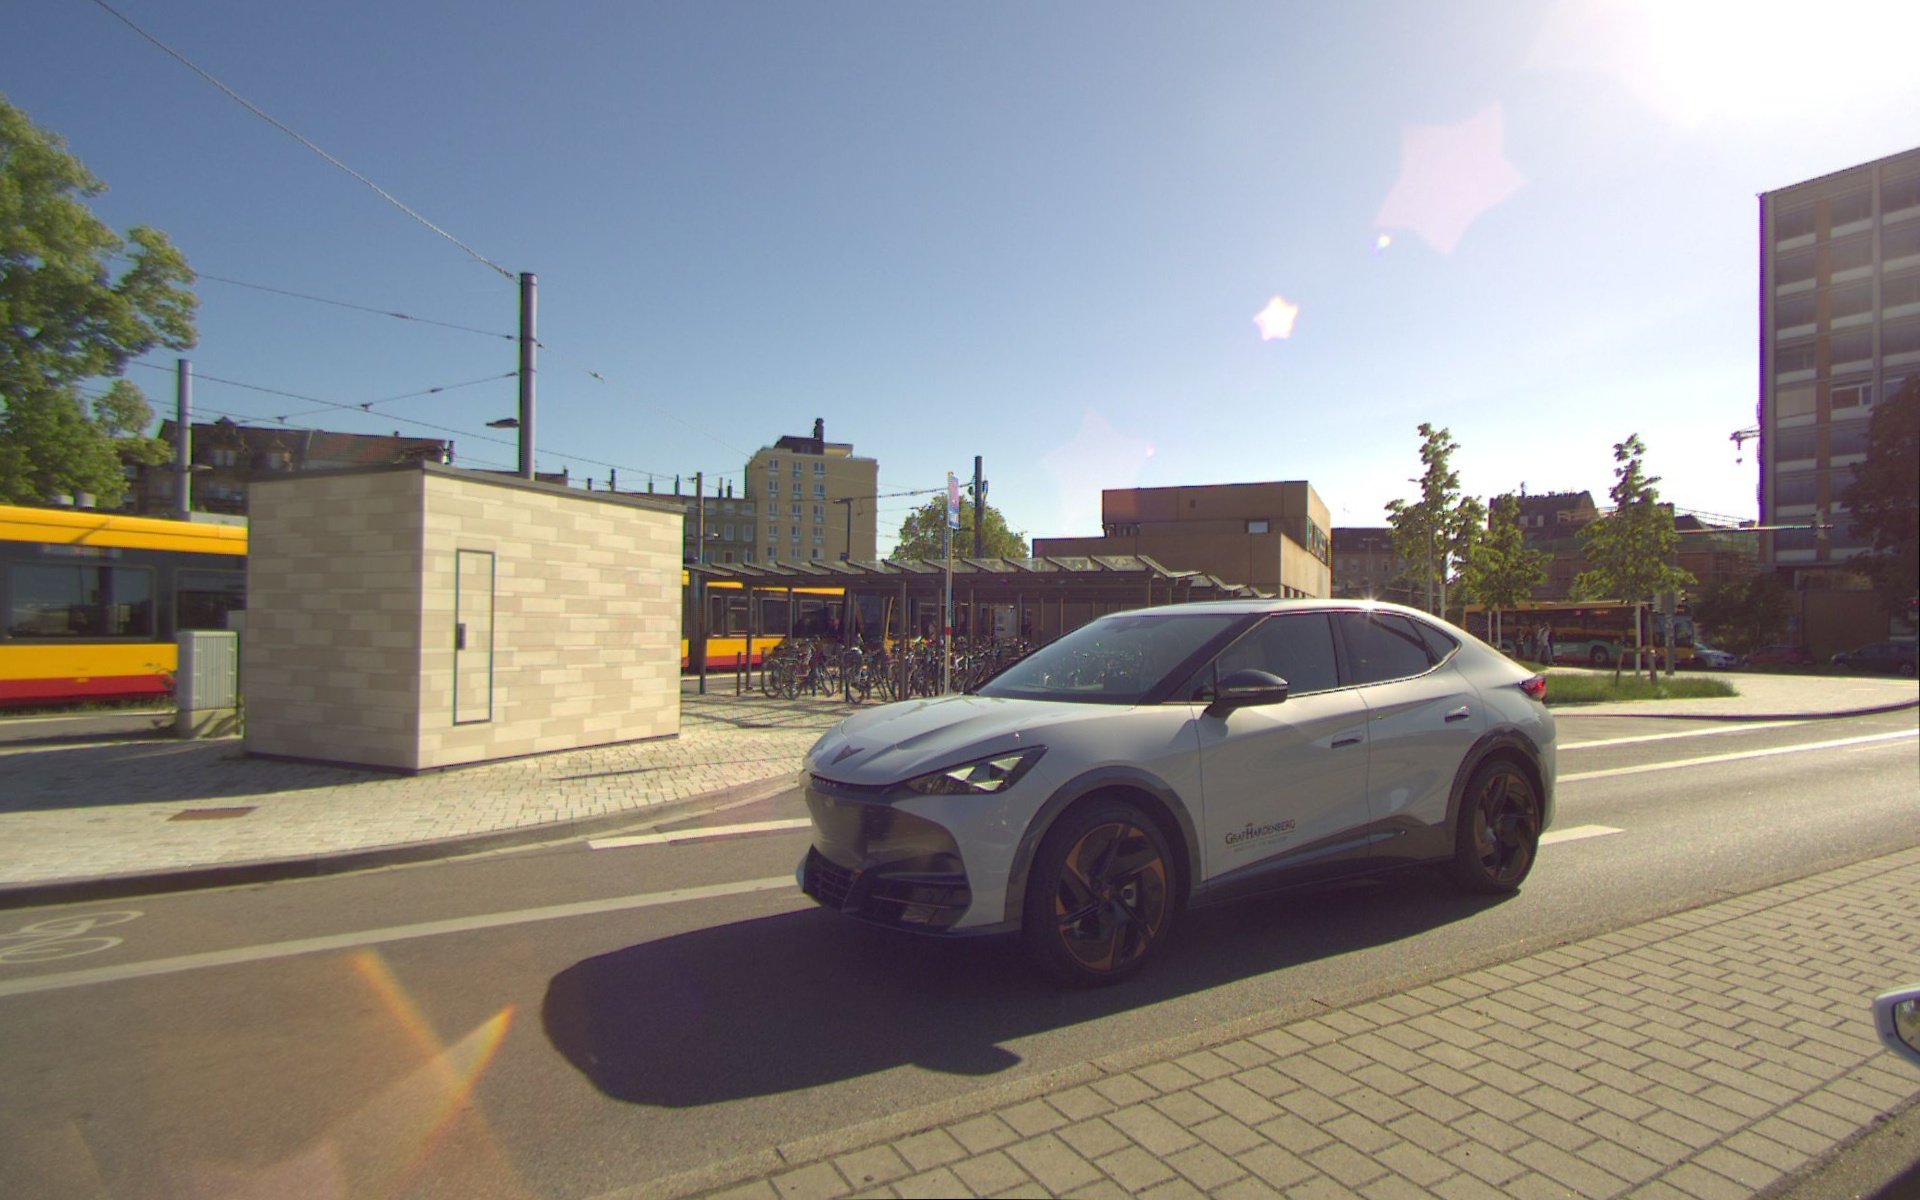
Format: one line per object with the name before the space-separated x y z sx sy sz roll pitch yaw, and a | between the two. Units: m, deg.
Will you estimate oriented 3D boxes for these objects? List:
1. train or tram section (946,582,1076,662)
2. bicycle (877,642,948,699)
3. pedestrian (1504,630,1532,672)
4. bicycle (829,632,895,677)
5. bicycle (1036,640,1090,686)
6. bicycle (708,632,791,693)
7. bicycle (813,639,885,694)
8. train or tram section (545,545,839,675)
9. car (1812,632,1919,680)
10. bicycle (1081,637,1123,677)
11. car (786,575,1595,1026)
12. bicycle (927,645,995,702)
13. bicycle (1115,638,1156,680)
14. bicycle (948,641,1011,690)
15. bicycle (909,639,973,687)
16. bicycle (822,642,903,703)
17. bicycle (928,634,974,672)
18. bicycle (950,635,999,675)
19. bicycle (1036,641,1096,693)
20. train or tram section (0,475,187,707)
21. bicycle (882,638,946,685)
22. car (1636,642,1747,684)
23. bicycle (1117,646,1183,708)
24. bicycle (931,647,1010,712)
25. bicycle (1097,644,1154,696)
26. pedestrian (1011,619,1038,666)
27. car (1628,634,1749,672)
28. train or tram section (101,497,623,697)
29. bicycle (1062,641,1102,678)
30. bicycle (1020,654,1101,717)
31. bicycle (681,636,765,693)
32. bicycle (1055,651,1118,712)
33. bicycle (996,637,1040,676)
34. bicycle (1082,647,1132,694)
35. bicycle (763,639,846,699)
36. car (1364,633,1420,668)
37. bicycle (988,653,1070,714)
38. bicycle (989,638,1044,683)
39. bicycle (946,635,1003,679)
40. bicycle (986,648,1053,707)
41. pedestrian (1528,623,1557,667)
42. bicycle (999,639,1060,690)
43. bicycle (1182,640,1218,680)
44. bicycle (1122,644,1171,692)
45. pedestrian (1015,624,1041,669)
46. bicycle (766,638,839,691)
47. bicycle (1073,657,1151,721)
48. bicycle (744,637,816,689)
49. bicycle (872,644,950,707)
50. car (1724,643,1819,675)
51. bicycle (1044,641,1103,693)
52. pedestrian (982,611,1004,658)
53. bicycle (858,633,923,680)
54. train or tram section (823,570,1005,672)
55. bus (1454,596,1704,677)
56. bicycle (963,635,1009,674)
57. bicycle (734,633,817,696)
train or tram section | 2.797 1.128 49.931 2.825 3.554 10.537 1 -1 24
bicycle | -0.946 1.417 20.455 0.571 1.072 1.814 1 -2 27
pedestrian | 24.139 2.213 43.455 0.775 1.764 0.654 3 -1 -14
bicycle | -2.495 1.395 25.730 0.572 1.102 2.055 1 -2 29
bicycle | 2.646 1.603 25.657 0.572 1.102 2.055 1 -2 29
bicycle | -4.161 1.239 20.010 0.571 1.135 1.814 1 -2 27
bicycle | -2.313 1.381 21.105 0.571 1.072 1.814 1 -2 27
train or tram section | -8.192 0.400 33.172 2.772 3.554 11.202 1 -1 25
car | 42.760 2.589 46.707 1.970 2.040 4.366 3 -2 -20
bicycle | 4.093 1.635 28.859 0.571 1.102 1.869 1 -2 28
car | 1.364 0.780 5.439 4.201 1.589 1.809 1 -3 -31
bicycle | 0.039 1.448 20.143 0.571 1.072 1.814 1 -2 27
bicycle | 4.980 1.656 28.357 0.571 1.102 1.869 1 -2 28
bicycle | 0.488 1.550 24.063 0.572 1.102 2.055 1 -2 29
bicycle | -0.438 1.528 24.592 0.572 1.102 2.055 1 -2 29
bicycle | -1.797 1.331 18.743 0.571 1.072 1.814 1 -2 27
bicycle | -0.257 1.619 30.946 0.571 1.102 1.869 1 -2 28
bicycle | 0.449 1.624 29.848 0.557 1.108 2.027 1 -2 27
bicycle | 2.440 1.514 22.939 0.572 1.102 2.055 1 -2 29
train or tram section | -17.069 -0.212 13.533 2.772 3.554 10.474 0 -2 23
bicycle | -1.115 1.511 24.962 0.572 1.102 2.055 1 -2 29
car | 39.931 3.386 54.979 1.968 2.040 4.649 3 -2 -17
bicycle | 3.546 1.404 18.610 0.572 1.065 1.969 1 -2 29
bicycle | 0.213 1.385 17.796 0.572 1.072 1.813 1 -2 29
bicycle | 3.747 1.559 22.663 0.572 1.102 2.055 1 -2 29
pedestrian | 2.657 1.749 41.451 0.833 1.908 0.760 2 -1 23
car | 34.008 2.447 47.043 1.936 1.541 4.400 3 -2 -13
train or tram section | -12.726 0.067 23.227 2.772 3.554 10.604 1 -1 25
bicycle | 3.829 1.845 31.381 0.571 1.102 1.869 1 -2 28
bicycle | 1.747 1.428 17.146 0.572 0.973 2.055 1 -2 29
bicycle | -4.777 1.298 20.380 0.571 1.072 1.814 1 -2 27
bicycle | 2.430 1.514 19.085 0.571 1.072 1.814 1 -2 27
bicycle | 1.738 1.669 29.895 0.571 1.102 1.869 1 -2 28
bicycle | 3.724 1.750 25.277 0.572 1.102 1.897 1 -2 29
bicycle | -2.950 1.299 19.248 0.571 1.072 1.814 1 -2 27
car | 27.502 3.191 64.075 1.971 2.040 4.002 2 -2 2
bicycle | 1.223 1.416 17.458 0.572 0.973 2.055 1 -2 29
bicycle | 1.505 1.576 26.303 0.572 1.102 2.055 1 -2 29
bicycle | 0.404 1.512 26.763 0.572 1.102 2.055 1 -2 29
bicycle | 1.178 1.476 19.515 0.571 1.072 1.814 1 -2 27
pedestrian | 23.891 1.838 41.193 0.775 1.764 0.625 3 -1 -14
bicycle | 1.658 1.502 23.629 0.572 1.102 2.055 1 -2 29
bicycle | 7.083 1.762 29.582 0.571 1.102 1.869 1 -2 28
bicycle | 4.607 1.653 24.669 0.572 1.102 1.926 1 -2 29
pedestrian | 2.943 2.000 43.377 0.833 1.908 0.760 2 -1 23
bicycle | -3.385 1.380 21.772 0.571 1.072 1.814 1 -2 27
bicycle | 2.574 1.451 16.785 0.572 0.973 2.055 1 -2 29
bicycle | -3.932 1.367 22.064 0.545 1.072 1.814 1 -2 27
bicycle | -0.868 1.360 18.421 0.571 1.072 1.814 1 -2 27
car | 46.317 3.343 57.420 1.847 1.607 3.899 3 -2 -12
bicycle | 2.647 1.529 23.164 0.572 1.102 2.055 1 -2 29
pedestrian | 1.359 1.416 41.422 0.745 1.908 0.850 2 -1 8
bicycle | -1.724 1.415 25.347 0.572 1.102 2.055 1 -2 29
train or tram section | -1.470 0.855 40.292 2.825 3.554 10.537 1 -1 24
bus | 30.118 1.732 50.022 2.832 3.440 12.421 3 -2 -11
bicycle | 0.803 1.643 30.283 0.571 1.102 1.869 1 -2 28
bicycle | -3.578 1.251 19.617 0.571 1.147 1.814 1 -2 27
